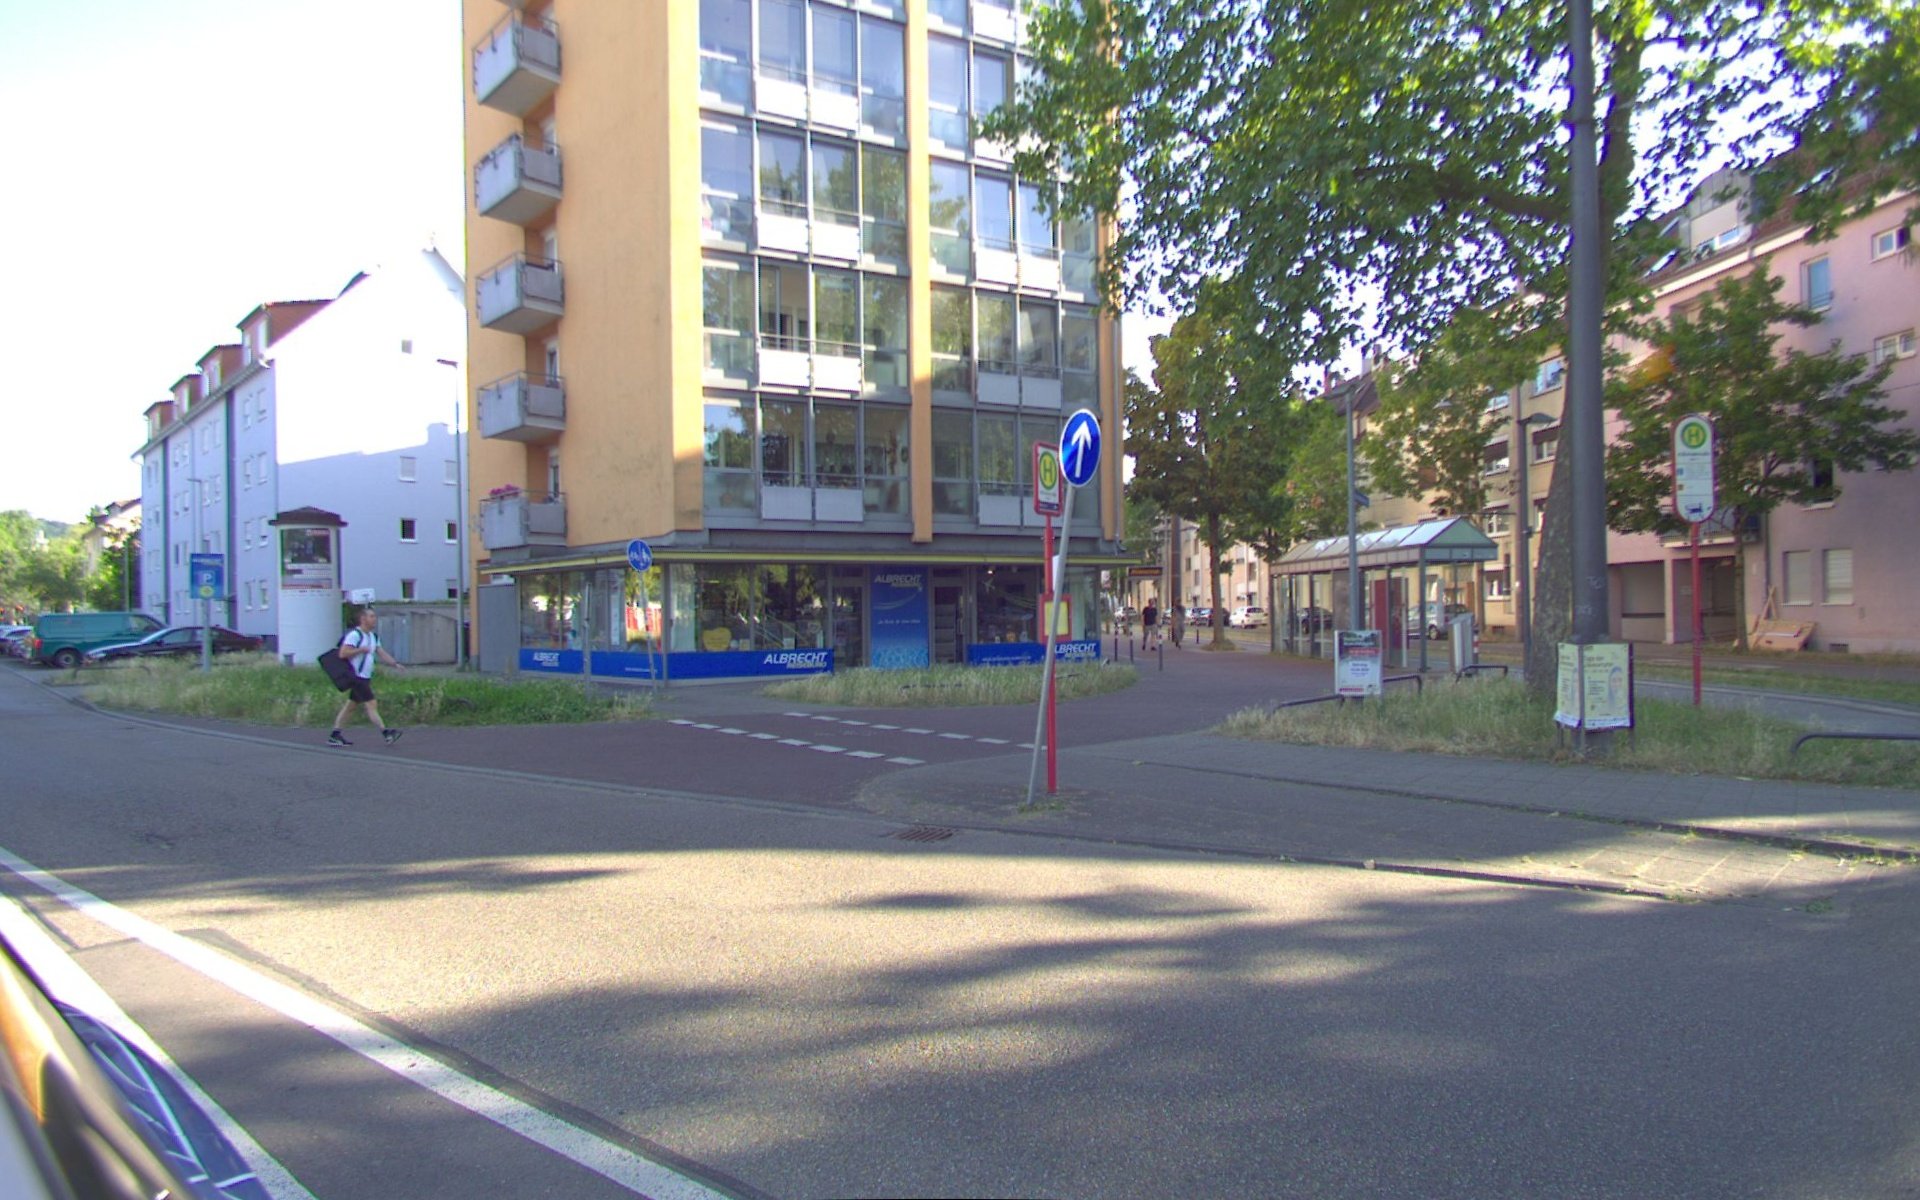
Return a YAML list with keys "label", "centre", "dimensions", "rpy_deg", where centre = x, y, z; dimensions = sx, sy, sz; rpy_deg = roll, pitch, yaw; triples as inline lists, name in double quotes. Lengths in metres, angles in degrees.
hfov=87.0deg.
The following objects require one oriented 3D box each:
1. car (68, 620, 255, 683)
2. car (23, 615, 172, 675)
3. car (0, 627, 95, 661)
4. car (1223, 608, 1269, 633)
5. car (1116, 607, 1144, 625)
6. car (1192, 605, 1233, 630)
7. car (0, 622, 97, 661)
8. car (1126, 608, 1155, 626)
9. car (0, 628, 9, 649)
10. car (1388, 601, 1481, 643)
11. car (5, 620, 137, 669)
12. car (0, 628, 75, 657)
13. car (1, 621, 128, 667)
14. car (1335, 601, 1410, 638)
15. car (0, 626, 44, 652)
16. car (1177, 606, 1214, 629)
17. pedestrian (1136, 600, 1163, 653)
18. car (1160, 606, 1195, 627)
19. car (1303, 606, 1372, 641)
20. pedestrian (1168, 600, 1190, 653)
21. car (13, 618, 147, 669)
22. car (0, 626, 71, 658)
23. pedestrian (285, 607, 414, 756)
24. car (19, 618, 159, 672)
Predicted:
- label: "car"
  centre: [-24.273, 1.513, 30.867]
  dimensions: [4.361, 1.674, 2.003]
  rpy_deg: [-1, 0, -41]
- label: "car"
  centre: [-31.216, 1.561, 36.690]
  dimensions: [2.001, 1.962, 3.942]
  rpy_deg: [-1, 0, 44]
- label: "car"
  centre: [-48.122, 2.280, 52.958]
  dimensions: [4.199, 1.585, 1.867]
  rpy_deg: [-1, 0, -44]
- label: "car"
  centre: [19.170, 1.346, 68.055]
  dimensions: [1.741, 1.588, 4.049]
  rpy_deg: [-1, 0, -3]
- label: "car"
  centre: [17.731, 1.637, 105.549]
  dimensions: [1.911, 1.719, 4.372]
  rpy_deg: [-1, 0, -3]
- label: "car"
  centre: [18.702, 1.266, 75.160]
  dimensions: [1.808, 1.719, 4.059]
  rpy_deg: [-1, 0, -3]
- label: "car"
  centre: [-46.119, 2.043, 50.867]
  dimensions: [4.061, 1.785, 1.758]
  rpy_deg: [-1, 0, -44]
- label: "car"
  centre: [17.781, 1.637, 99.876]
  dimensions: [1.911, 1.719, 4.003]
  rpy_deg: [-1, 0, -3]
- label: "car"
  centre: [-74.761, 2.995, 76.963]
  dimensions: [3.490, 1.585, 1.867]
  rpy_deg: [-1, 0, -44]
- label: "car"
  centre: [20.745, 0.908, 44.435]
  dimensions: [1.911, 1.719, 4.115]
  rpy_deg: [-1, 0, -3]
- label: "car"
  centre: [-36.859, 1.812, 42.013]
  dimensions: [4.003, 1.829, 1.938]
  rpy_deg: [-1, 0, -44]
- label: "car"
  centre: [-55.661, 2.508, 60.383]
  dimensions: [4.199, 1.585, 1.867]
  rpy_deg: [-1, 0, -44]
- label: "car"
  centre: [-38.828, 1.870, 43.931]
  dimensions: [4.016, 1.765, 1.900]
  rpy_deg: [-1, 0, -44]
- label: "car"
  centre: [19.904, 0.918, 48.990]
  dimensions: [1.911, 1.719, 3.827]
  rpy_deg: [-1, 0, -3]
- label: "car"
  centre: [-63.497, 2.610, 66.995]
  dimensions: [4.199, 1.585, 1.867]
  rpy_deg: [-1, 0, -44]
- label: "car"
  centre: [18.640, 1.351, 80.349]
  dimensions: [1.771, 1.719, 4.170]
  rpy_deg: [-1, 0, -3]
- label: "pedestrian"
  centre: [6.365, 0.884, 33.992]
  dimensions: [0.803, 1.763, 0.538]
  rpy_deg: [-1, 0, 6]
- label: "car"
  centre: [18.428, 1.393, 85.804]
  dimensions: [1.830, 1.719, 4.170]
  rpy_deg: [-1, 0, -3]
- label: "car"
  centre: [19.914, 1.202, 53.603]
  dimensions: [1.911, 1.719, 4.115]
  rpy_deg: [-1, 0, -3]
- label: "pedestrian"
  centre: [7.315, 0.871, 33.862]
  dimensions: [0.622, 1.763, 0.689]
  rpy_deg: [-1, 0, 6]
- label: "car"
  centre: [-35.121, 1.679, 40.435]
  dimensions: [3.941, 1.829, 2.001]
  rpy_deg: [-1, 0, -44]
- label: "car"
  centre: [-55.794, 2.478, 60.436]
  dimensions: [4.016, 1.765, 1.900]
  rpy_deg: [-1, 0, -44]
- label: "pedestrian"
  centre: [-7.610, 0.979, 12.642]
  dimensions: [1.080, 1.750, 0.897]
  rpy_deg: [-1, 0, 19]
- label: "car"
  centre: [-33.122, 1.653, 38.533]
  dimensions: [3.941, 1.829, 2.001]
  rpy_deg: [-1, 0, -44]
